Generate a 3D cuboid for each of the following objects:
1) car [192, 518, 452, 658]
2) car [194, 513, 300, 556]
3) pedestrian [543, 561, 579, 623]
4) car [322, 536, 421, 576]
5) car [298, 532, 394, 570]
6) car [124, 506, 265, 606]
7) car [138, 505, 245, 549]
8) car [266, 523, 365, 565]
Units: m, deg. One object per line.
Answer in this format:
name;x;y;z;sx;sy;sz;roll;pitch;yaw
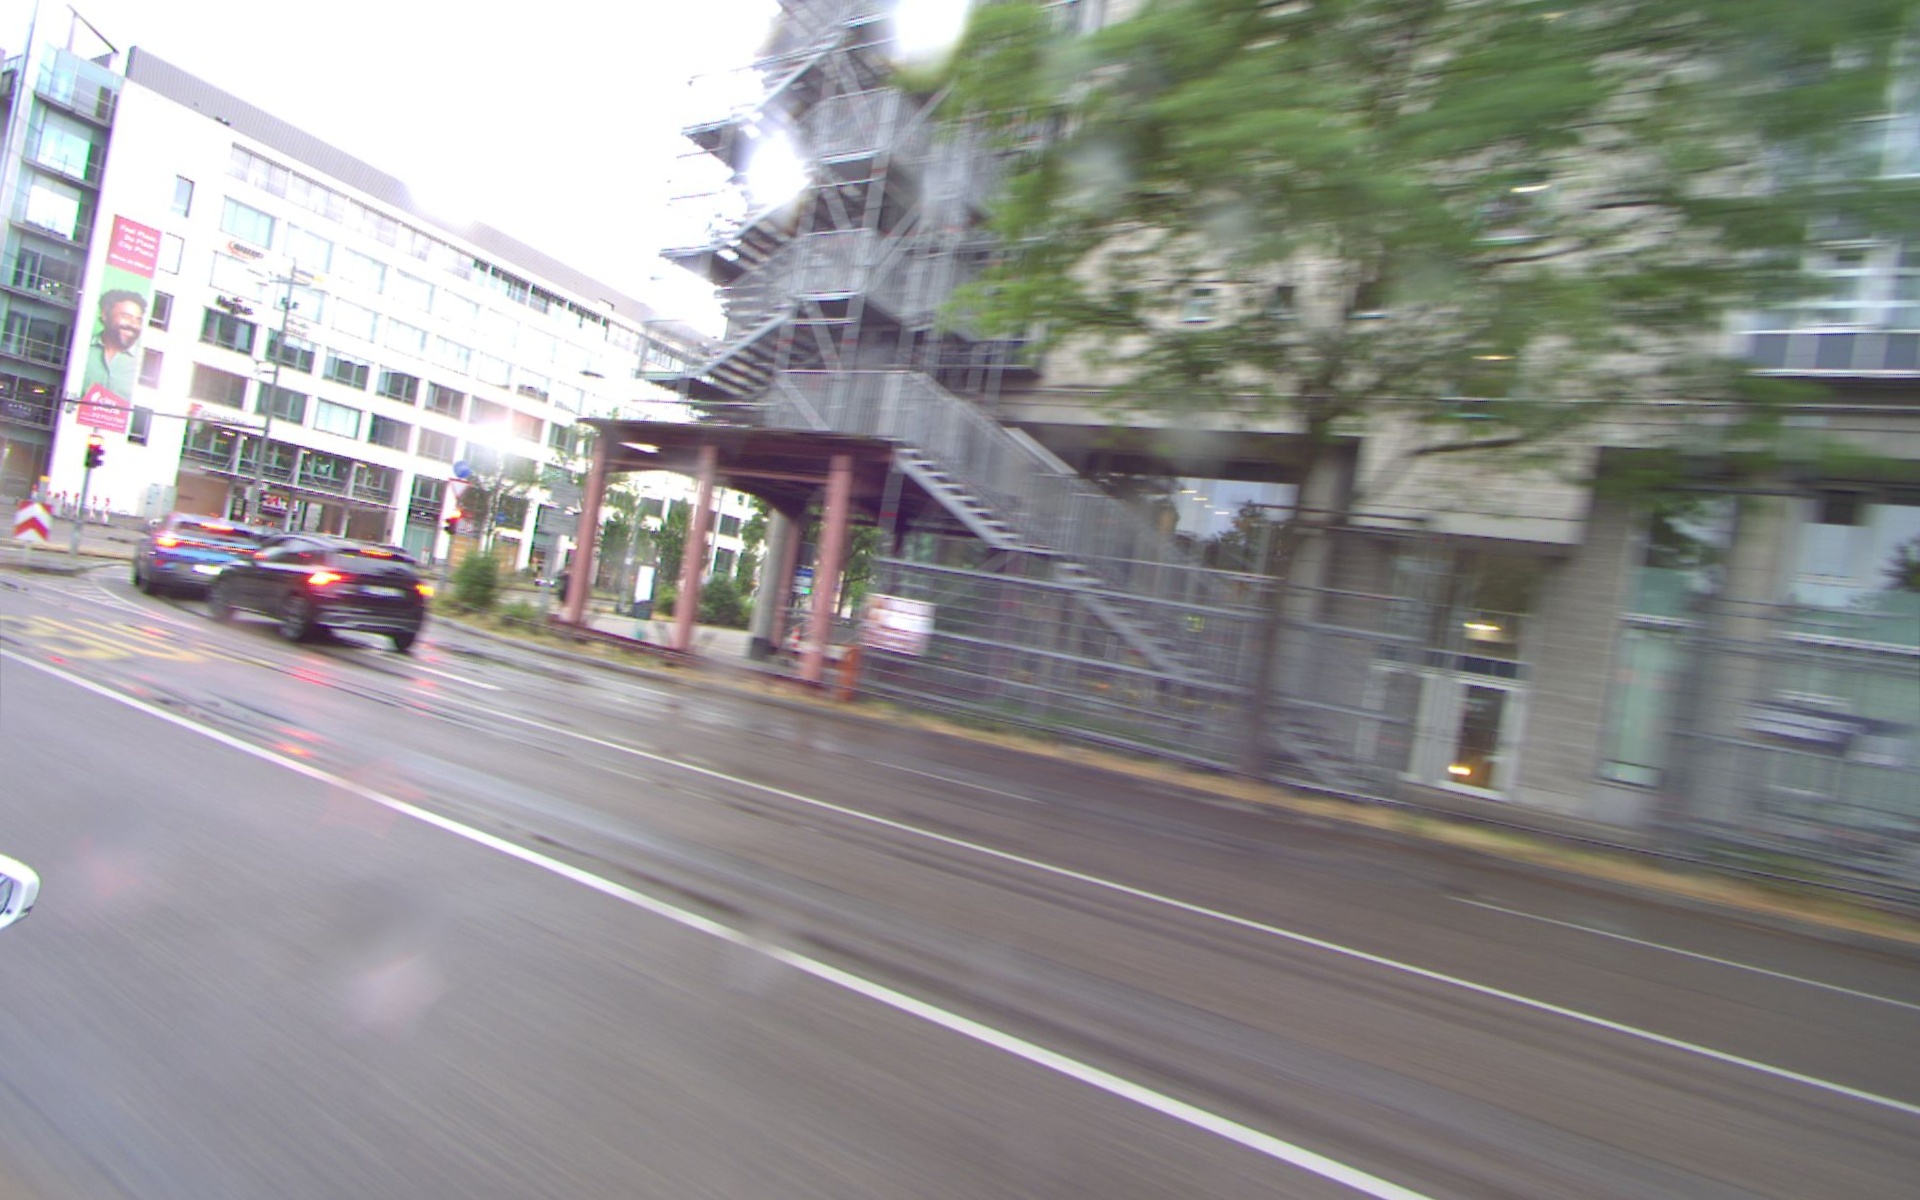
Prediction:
car;-9.947;-0.216;15.596;4.080;1.557;1.781;7;-2;34
car;-40.545;-3.711;57.349;1.963;1.616;4.469;8;-2;20
pedestrian;-12.865;-0.258;32.438;0.676;1.874;1.047;8;-1;-34
car;-31.894;-2.349;54.683;1.691;1.480;4.469;8;-2;19
car;-34.426;-2.716;56.538;1.690;1.363;4.470;8;-2;17
car;-15.411;-0.931;20.165;1.699;1.547;4.373;10;-2;-43
car;-44.058;-4.159;57.806;1.962;1.616;4.470;8;-2;17
car;-37.224;-3.195;58.275;1.962;1.616;4.470;8;-2;17
